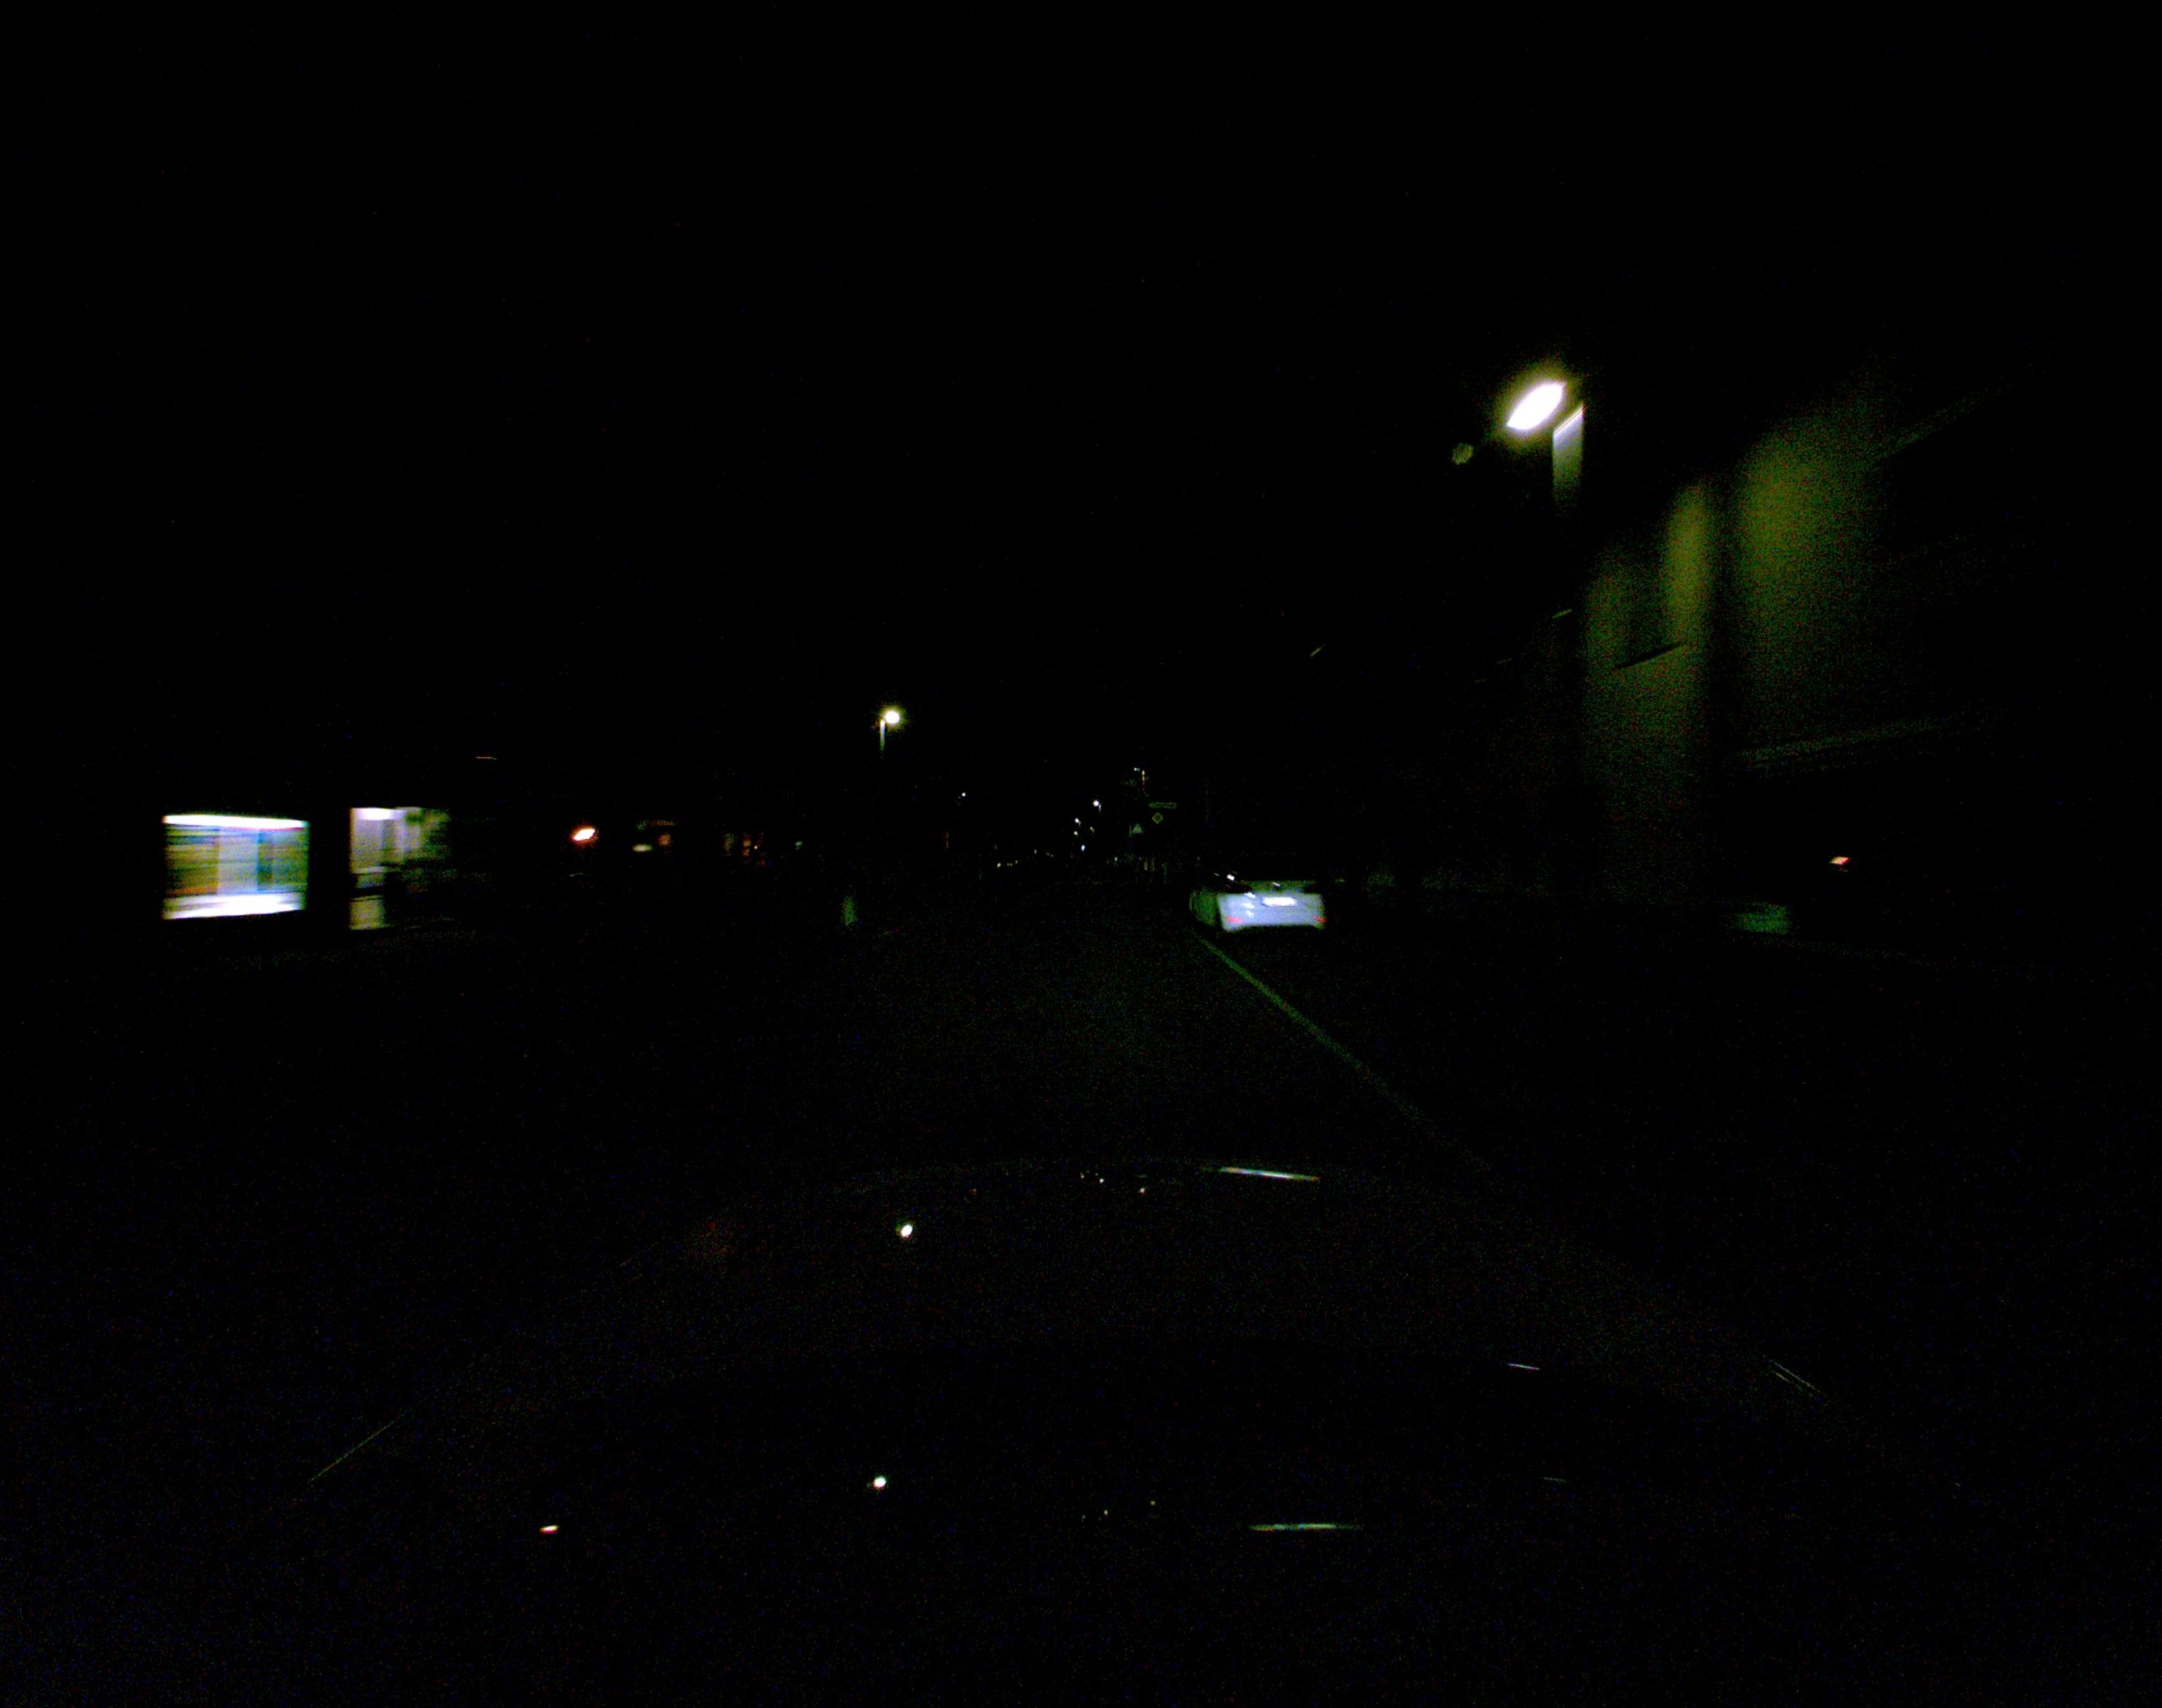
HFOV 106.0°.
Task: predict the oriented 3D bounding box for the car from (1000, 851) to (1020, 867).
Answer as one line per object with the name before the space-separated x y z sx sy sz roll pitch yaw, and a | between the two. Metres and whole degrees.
car | -6.816 0.455 78.429 1.684 1.510 4.275 0 0 -2

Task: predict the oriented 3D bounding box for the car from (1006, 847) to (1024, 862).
car | -6.741 0.048 83.543 1.762 1.519 4.274 1 0 -3

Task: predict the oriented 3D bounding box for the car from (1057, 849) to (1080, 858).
car | -2.840 -0.123 187.221 5.174 2.013 2.098 -2 0 -5

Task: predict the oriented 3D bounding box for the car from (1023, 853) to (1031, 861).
car | -13.814 0.801 207.110 1.821 1.987 4.457 2 -2 -4

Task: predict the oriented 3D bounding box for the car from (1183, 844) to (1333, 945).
car | 3.071 0.622 14.999 1.738 1.569 4.206 -1 0 -1

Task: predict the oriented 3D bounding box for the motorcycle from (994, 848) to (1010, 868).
motorcycle | -5.750 0.272 59.110 0.742 1.452 2.199 0 0 5

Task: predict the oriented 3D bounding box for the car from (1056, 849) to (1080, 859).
car | -2.946 -0.057 184.147 5.174 2.013 2.098 -2 0 -5

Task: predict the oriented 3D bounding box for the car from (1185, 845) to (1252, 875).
car | 8.134 0.340 48.393 3.499 1.524 1.818 -4 0 -4

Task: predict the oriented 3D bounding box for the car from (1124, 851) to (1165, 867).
car | 5.881 0.417 75.736 3.700 1.473 1.730 0 0 -1

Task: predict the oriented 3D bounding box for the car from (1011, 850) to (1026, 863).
car | -7.473 0.258 97.530 1.668 1.522 2.974 2 0 -5
